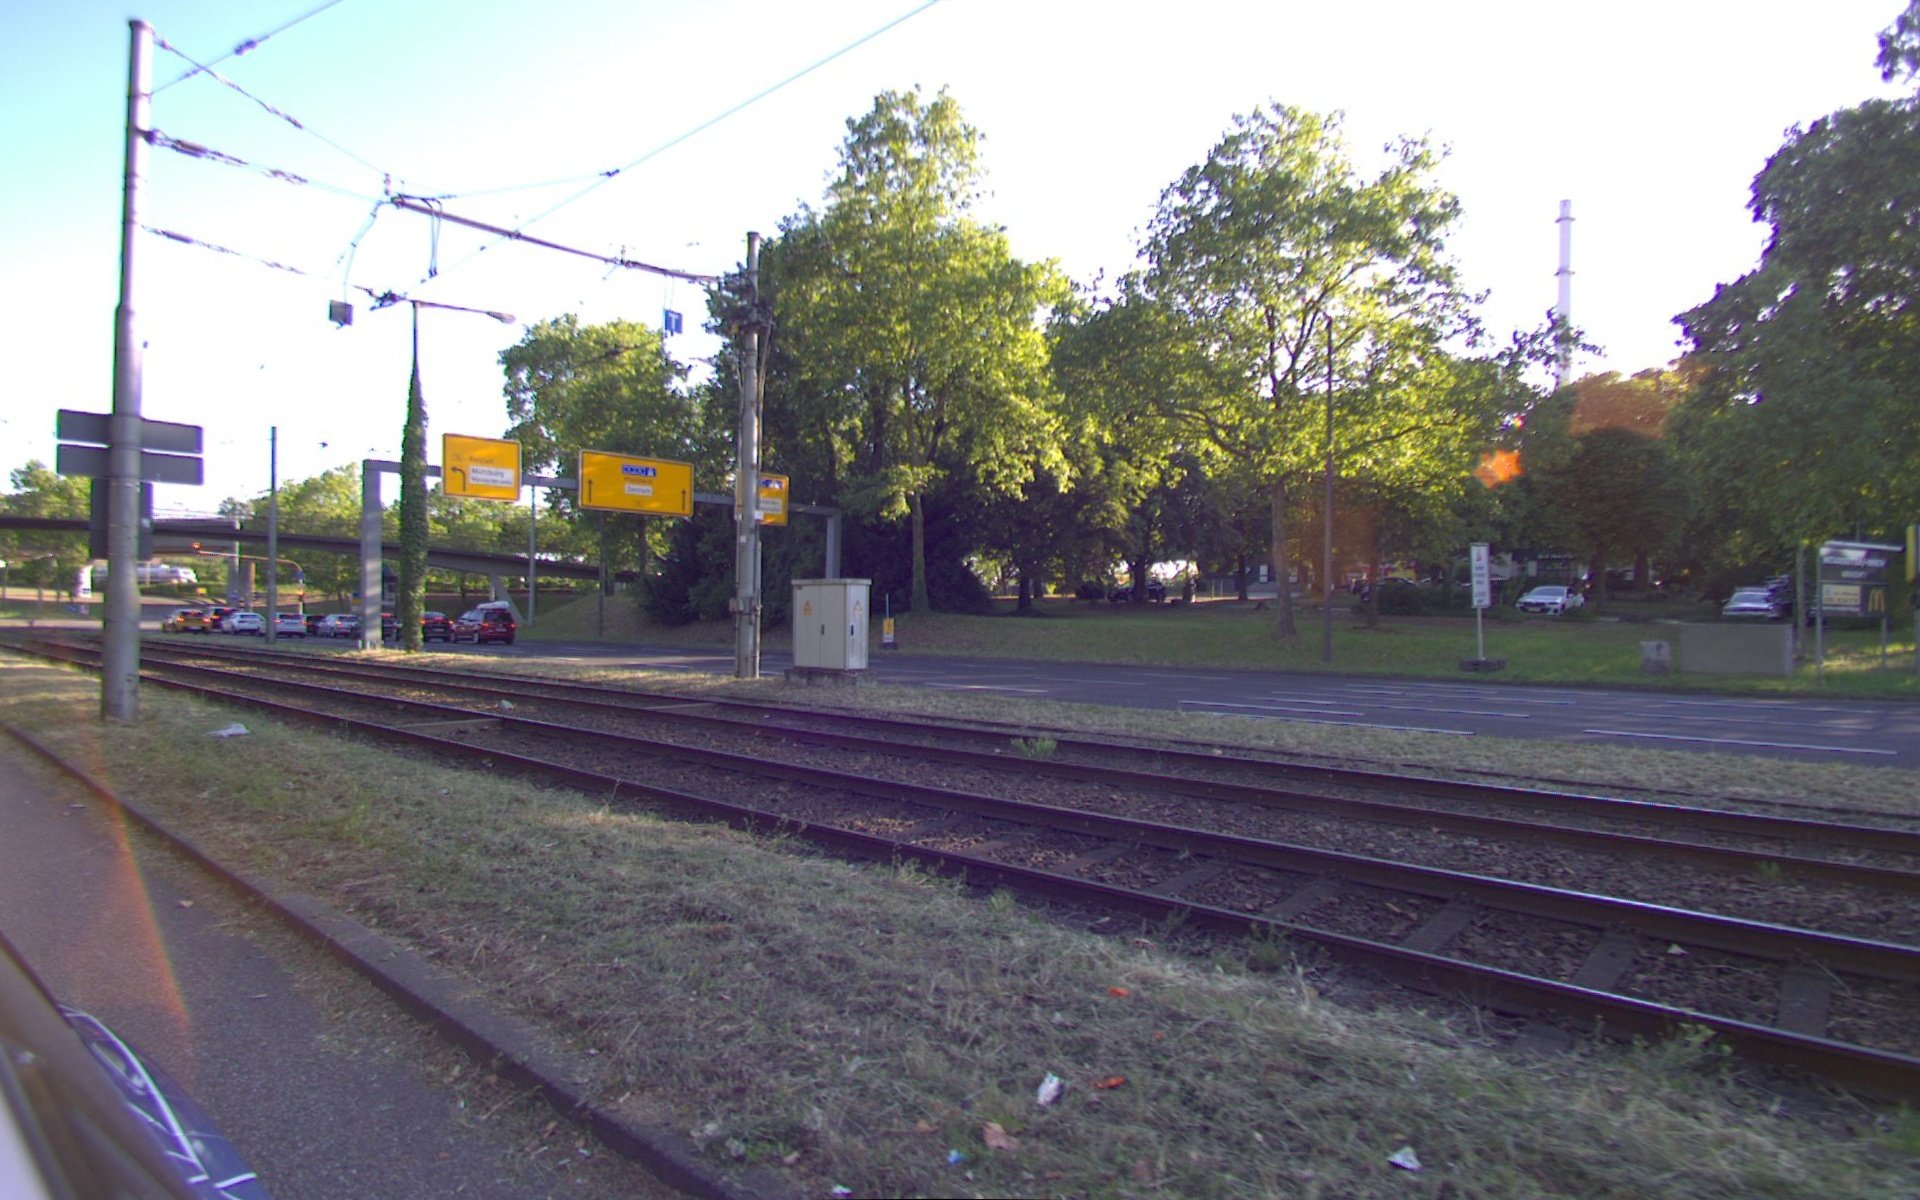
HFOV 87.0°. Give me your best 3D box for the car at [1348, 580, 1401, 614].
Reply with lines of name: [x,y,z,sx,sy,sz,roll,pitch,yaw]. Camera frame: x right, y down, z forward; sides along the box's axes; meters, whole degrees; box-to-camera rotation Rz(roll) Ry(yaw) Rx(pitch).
car: [21.694,-0.157,52.903,1.822,1.700,4.178,-1,0,33]

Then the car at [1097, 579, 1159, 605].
car: [10.568,-0.494,63.653,3.939,1.564,1.809,0,0,-43]

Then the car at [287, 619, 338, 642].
car: [-43.311,2.036,67.631,4.475,1.393,1.773,0,0,42]

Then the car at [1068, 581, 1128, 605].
car: [9.658,-0.482,70.685,3.933,1.564,1.812,0,0,-34]

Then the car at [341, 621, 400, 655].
car: [-33.751,2.144,57.929,3.999,1.763,1.773,0,0,42]

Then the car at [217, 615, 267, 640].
car: [-45.269,1.732,63.776,4.412,1.443,1.722,0,-3,44]

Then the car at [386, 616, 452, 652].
car: [-28.758,1.748,53.782,4.240,1.763,1.773,0,0,42]

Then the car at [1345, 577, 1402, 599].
car: [31.491,-0.891,77.086,3.976,1.564,1.793,-1,0,24]

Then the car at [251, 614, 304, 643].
car: [-39.977,1.630,59.234,4.189,1.577,1.645,0,0,42]

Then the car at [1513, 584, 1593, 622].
car: [27.943,0.125,47.647,4.826,1.719,2.002,-1,0,-44]

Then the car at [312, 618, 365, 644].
car: [-39.089,1.918,63.652,3.999,1.492,1.773,0,0,42]

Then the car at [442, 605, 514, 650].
car: [-23.572,1.302,49.440,3.999,2.121,1.773,0,0,42]

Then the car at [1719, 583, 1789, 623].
car: [33.355,0.124,42.463,2.043,1.586,4.341,-1,0,42]

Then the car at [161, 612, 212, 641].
car: [-44.823,1.499,58.647,3.999,1.577,1.645,0,0,42]
